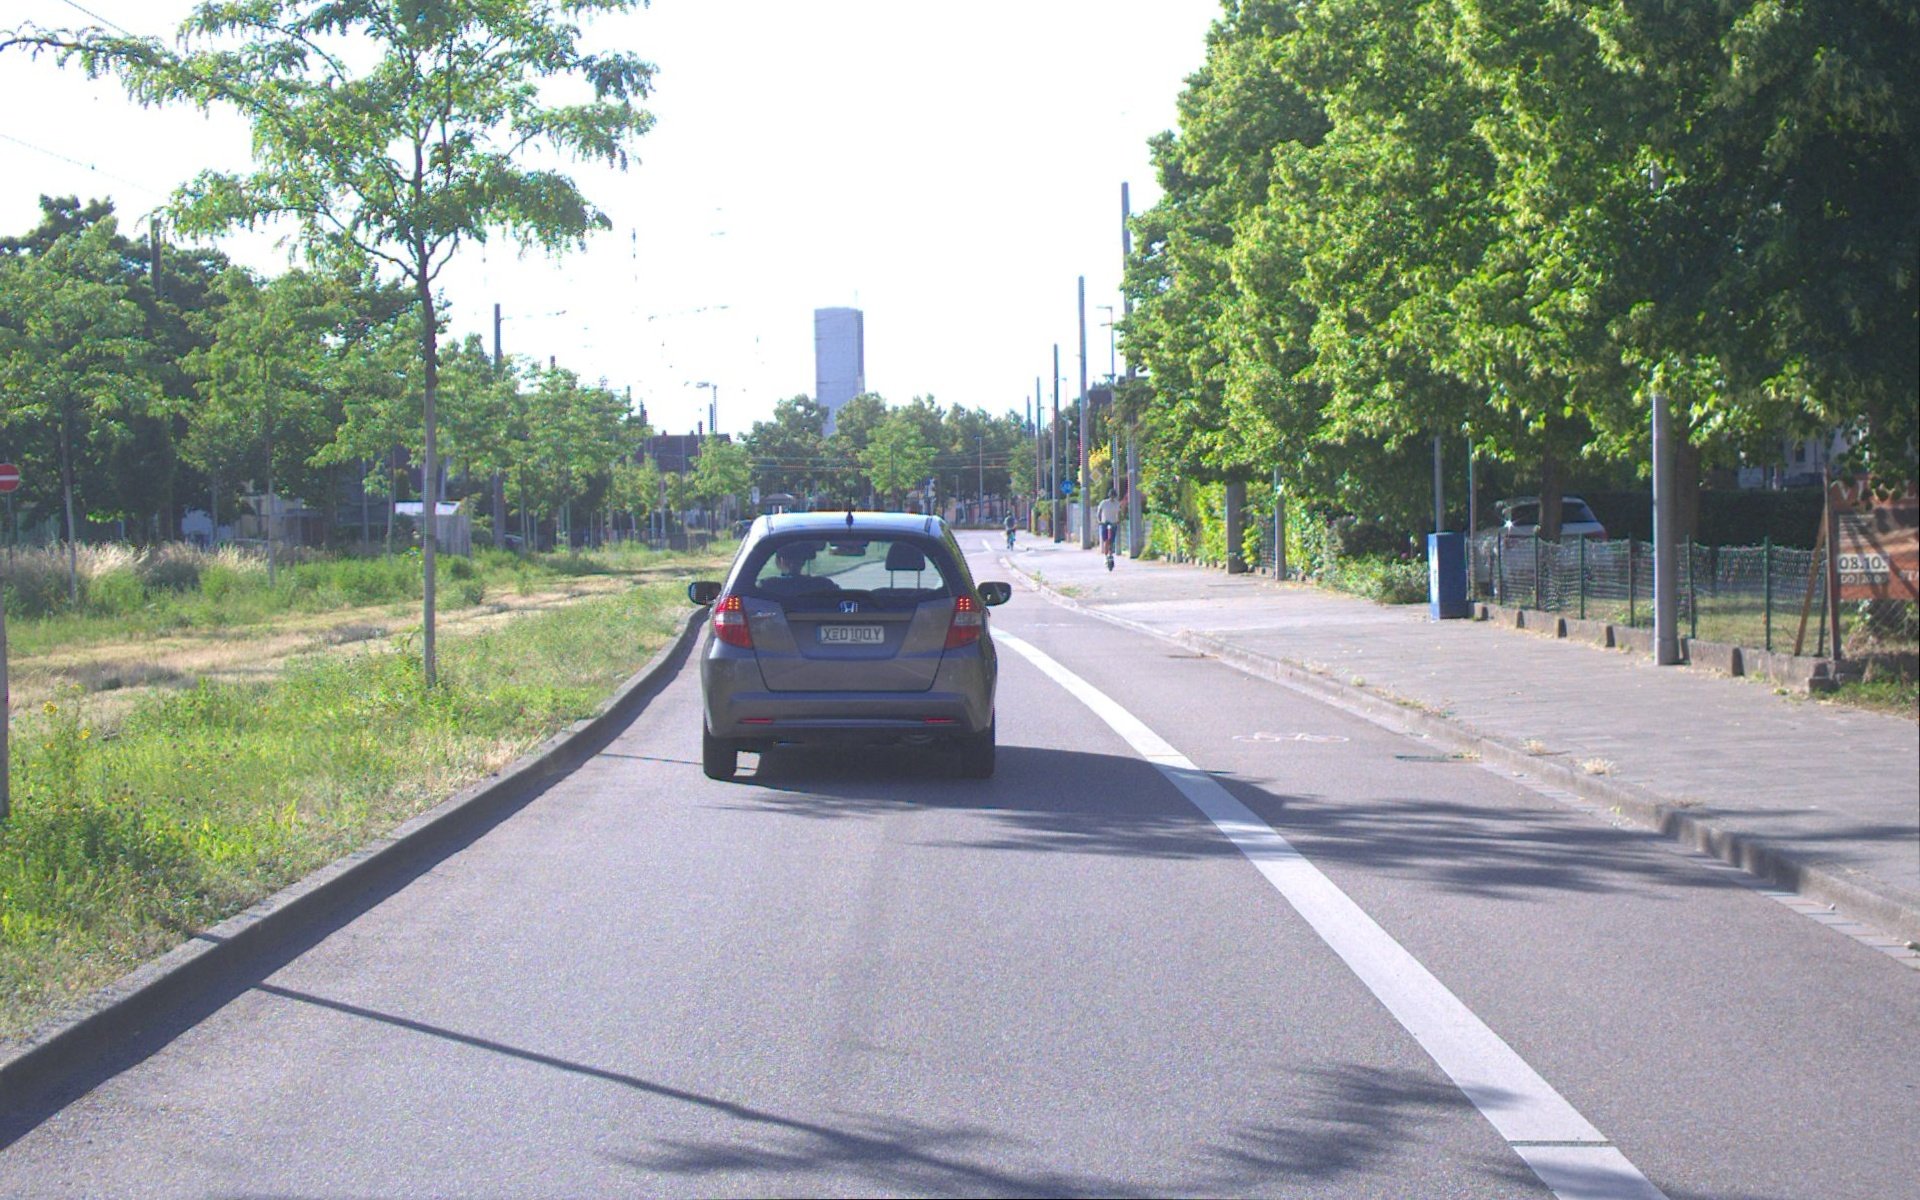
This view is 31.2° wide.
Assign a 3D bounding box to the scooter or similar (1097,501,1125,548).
[{"bbox_3d":[3.616,-1.811,82.645,0.539,1.114,1.417,-1,1,-2],"label":"scooter or similar"}]

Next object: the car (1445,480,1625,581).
[{"bbox_3d":[8.449,-1.027,50.815,1.774,1.382,3.871,-2,1,-3],"label":"car"}]

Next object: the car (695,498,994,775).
[{"bbox_3d":[-0.635,0.150,20.543,1.624,1.494,3.457,1,2,0],"label":"car"}]

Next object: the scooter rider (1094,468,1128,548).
[{"bbox_3d":[3.638,-2.213,82.800,0.716,1.894,0.935,-1,1,-2],"label":"scooter rider"}]
